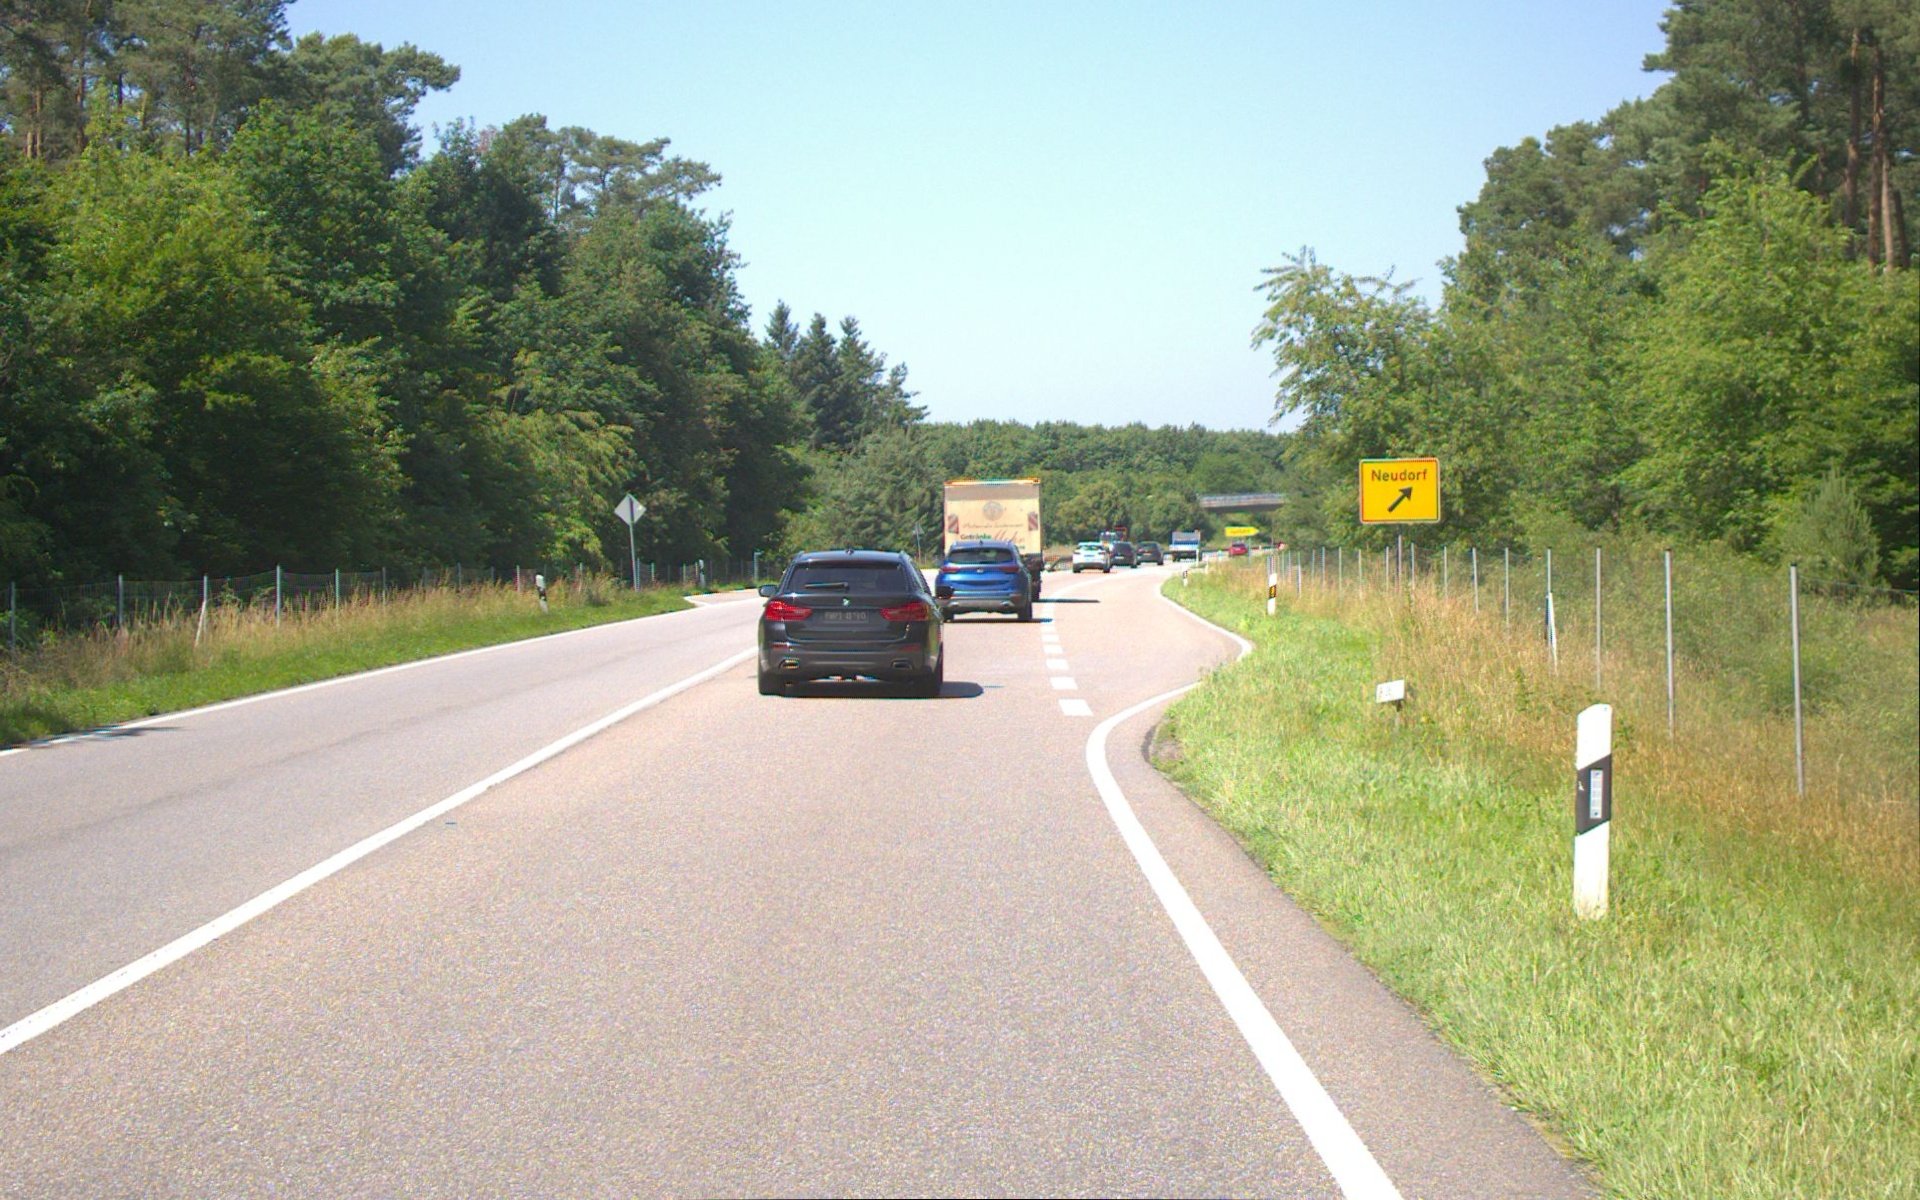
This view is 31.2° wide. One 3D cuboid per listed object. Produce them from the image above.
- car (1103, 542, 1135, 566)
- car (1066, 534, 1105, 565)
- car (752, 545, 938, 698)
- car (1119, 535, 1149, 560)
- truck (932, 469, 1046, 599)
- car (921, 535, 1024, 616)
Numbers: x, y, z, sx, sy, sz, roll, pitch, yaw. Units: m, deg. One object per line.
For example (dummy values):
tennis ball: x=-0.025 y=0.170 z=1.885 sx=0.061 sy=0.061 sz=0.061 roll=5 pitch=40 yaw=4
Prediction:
car: x=9.876 y=-2.884 z=213.936 sx=1.994 sy=1.415 sz=4.000 roll=1 pitch=1 yaw=2
car: x=6.714 y=-2.696 z=184.671 sx=1.863 sy=1.600 sz=4.000 roll=1 pitch=1 yaw=-1
car: x=-1.239 y=0.181 z=35.967 sx=1.820 sy=1.465 sz=4.001 roll=-1 pitch=1 yaw=-3
car: x=12.074 y=-3.639 z=237.957 sx=1.994 sy=1.631 sz=4.000 roll=-1 pitch=1 yaw=4
truck: x=0.829 y=-1.797 z=93.058 sx=2.966 sy=3.376 sz=6.438 roll=0 pitch=1 yaw=1
car: x=0.216 y=-0.516 z=68.729 sx=1.947 sy=1.536 sz=4.000 roll=-1 pitch=1 yaw=-1
